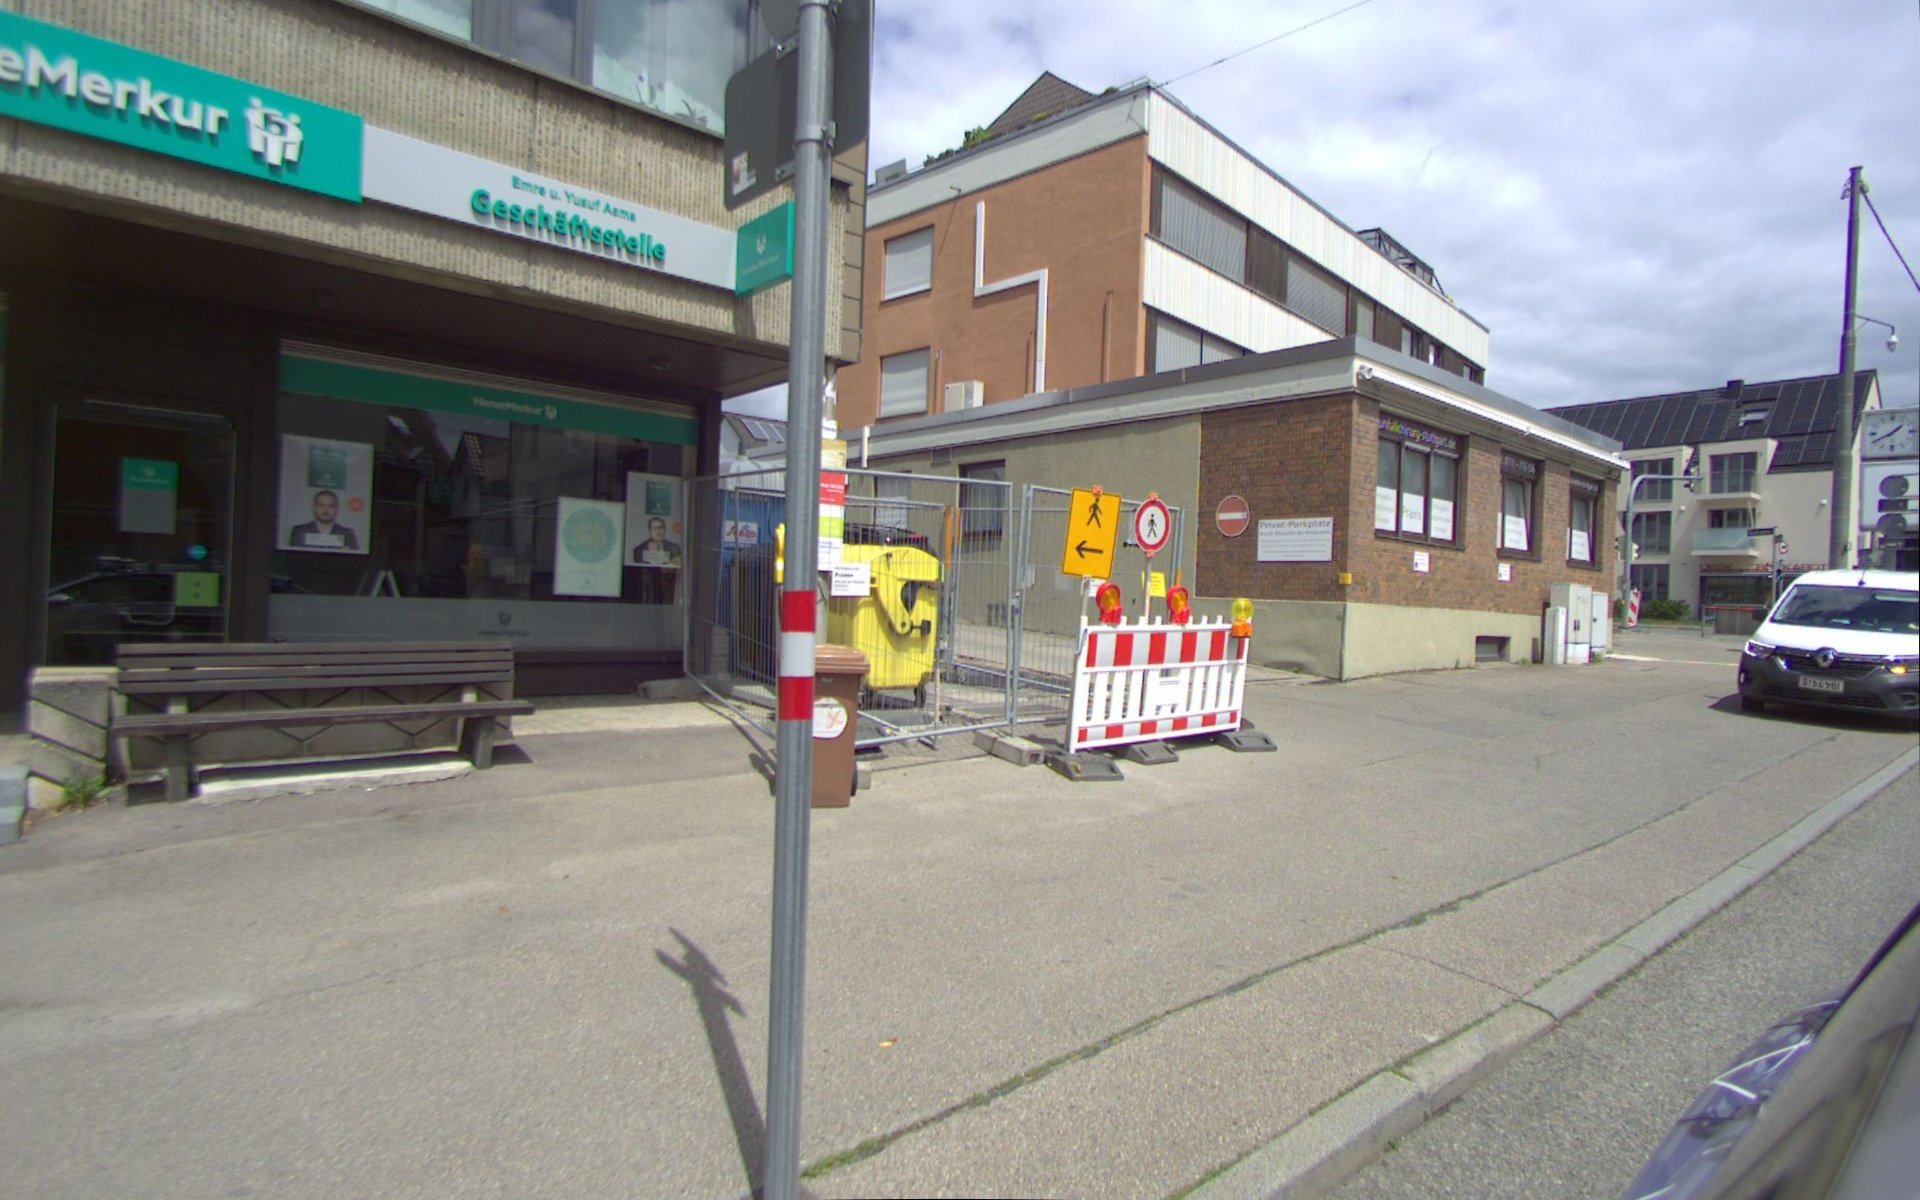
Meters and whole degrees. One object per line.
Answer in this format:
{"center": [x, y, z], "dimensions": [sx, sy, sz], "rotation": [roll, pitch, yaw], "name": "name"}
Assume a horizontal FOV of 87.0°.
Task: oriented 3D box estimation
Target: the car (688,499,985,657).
{"center": [-1.779, -0.395, 14.227], "dimensions": [3.751, 1.799, 1.896], "rotation": [6, 5, 33], "name": "car"}

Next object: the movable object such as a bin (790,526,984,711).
{"center": [-0.686, 0.145, 9.162], "dimensions": [1.056, 1.511, 1.487], "rotation": [3, 0, -37], "name": "movable object such as a bin"}

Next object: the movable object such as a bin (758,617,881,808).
{"center": [-0.849, 0.644, 6.033], "dimensions": [0.664, 1.039, 0.606], "rotation": [1, 1, -10], "name": "movable object such as a bin"}

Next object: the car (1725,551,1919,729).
{"center": [11.374, 0.389, 12.611], "dimensions": [4.411, 1.816, 1.916], "rotation": [0, 4, -40], "name": "car"}

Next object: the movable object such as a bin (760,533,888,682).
{"center": [-1.413, 0.077, 10.496], "dimensions": [0.999, 1.458, 0.782], "rotation": [3, 0, -37], "name": "movable object such as a bin"}
